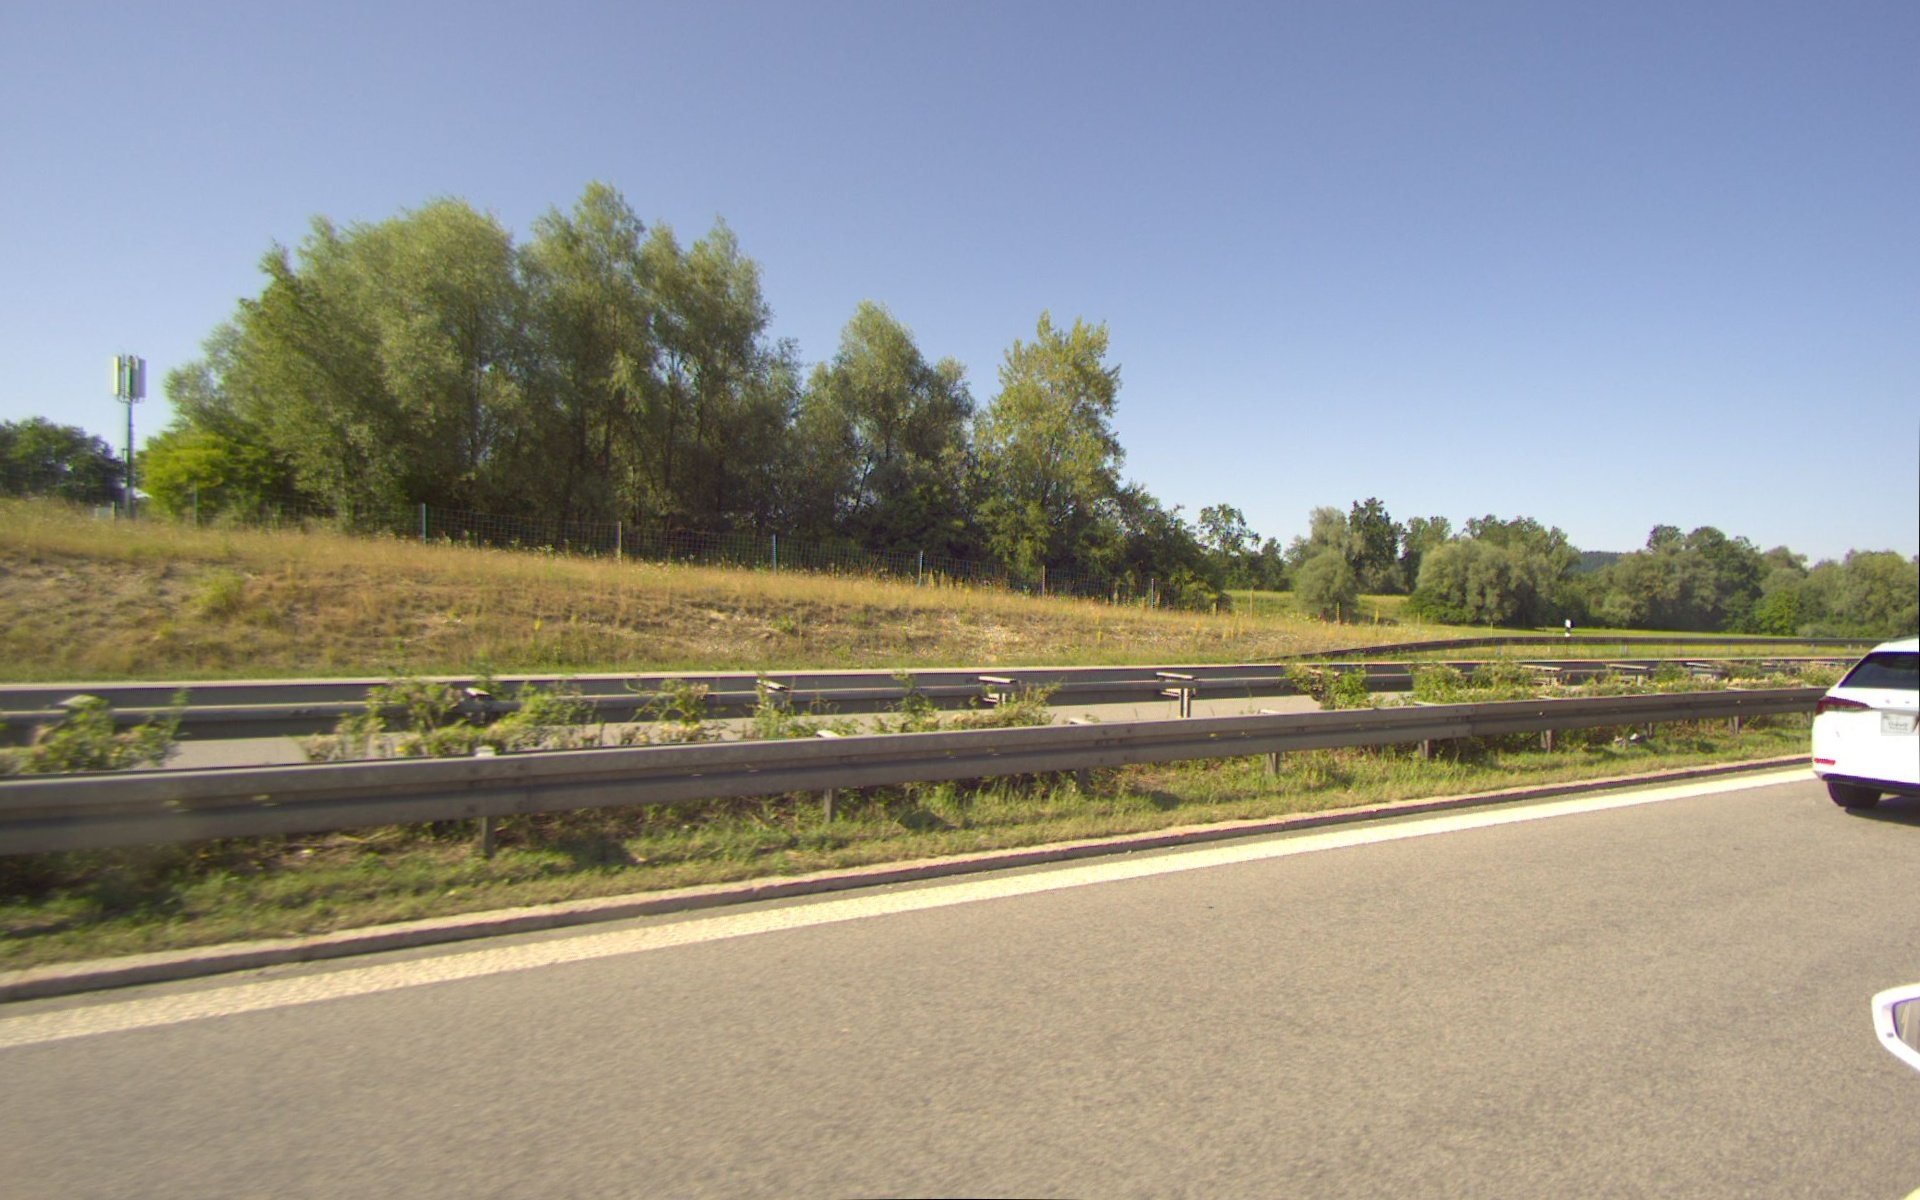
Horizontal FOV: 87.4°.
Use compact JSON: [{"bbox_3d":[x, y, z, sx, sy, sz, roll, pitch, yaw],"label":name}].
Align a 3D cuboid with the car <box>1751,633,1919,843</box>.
[{"bbox_3d":[8.930,1.038,8.401,5.191,1.440,1.832,1,-1,-30],"label":"car"}]
